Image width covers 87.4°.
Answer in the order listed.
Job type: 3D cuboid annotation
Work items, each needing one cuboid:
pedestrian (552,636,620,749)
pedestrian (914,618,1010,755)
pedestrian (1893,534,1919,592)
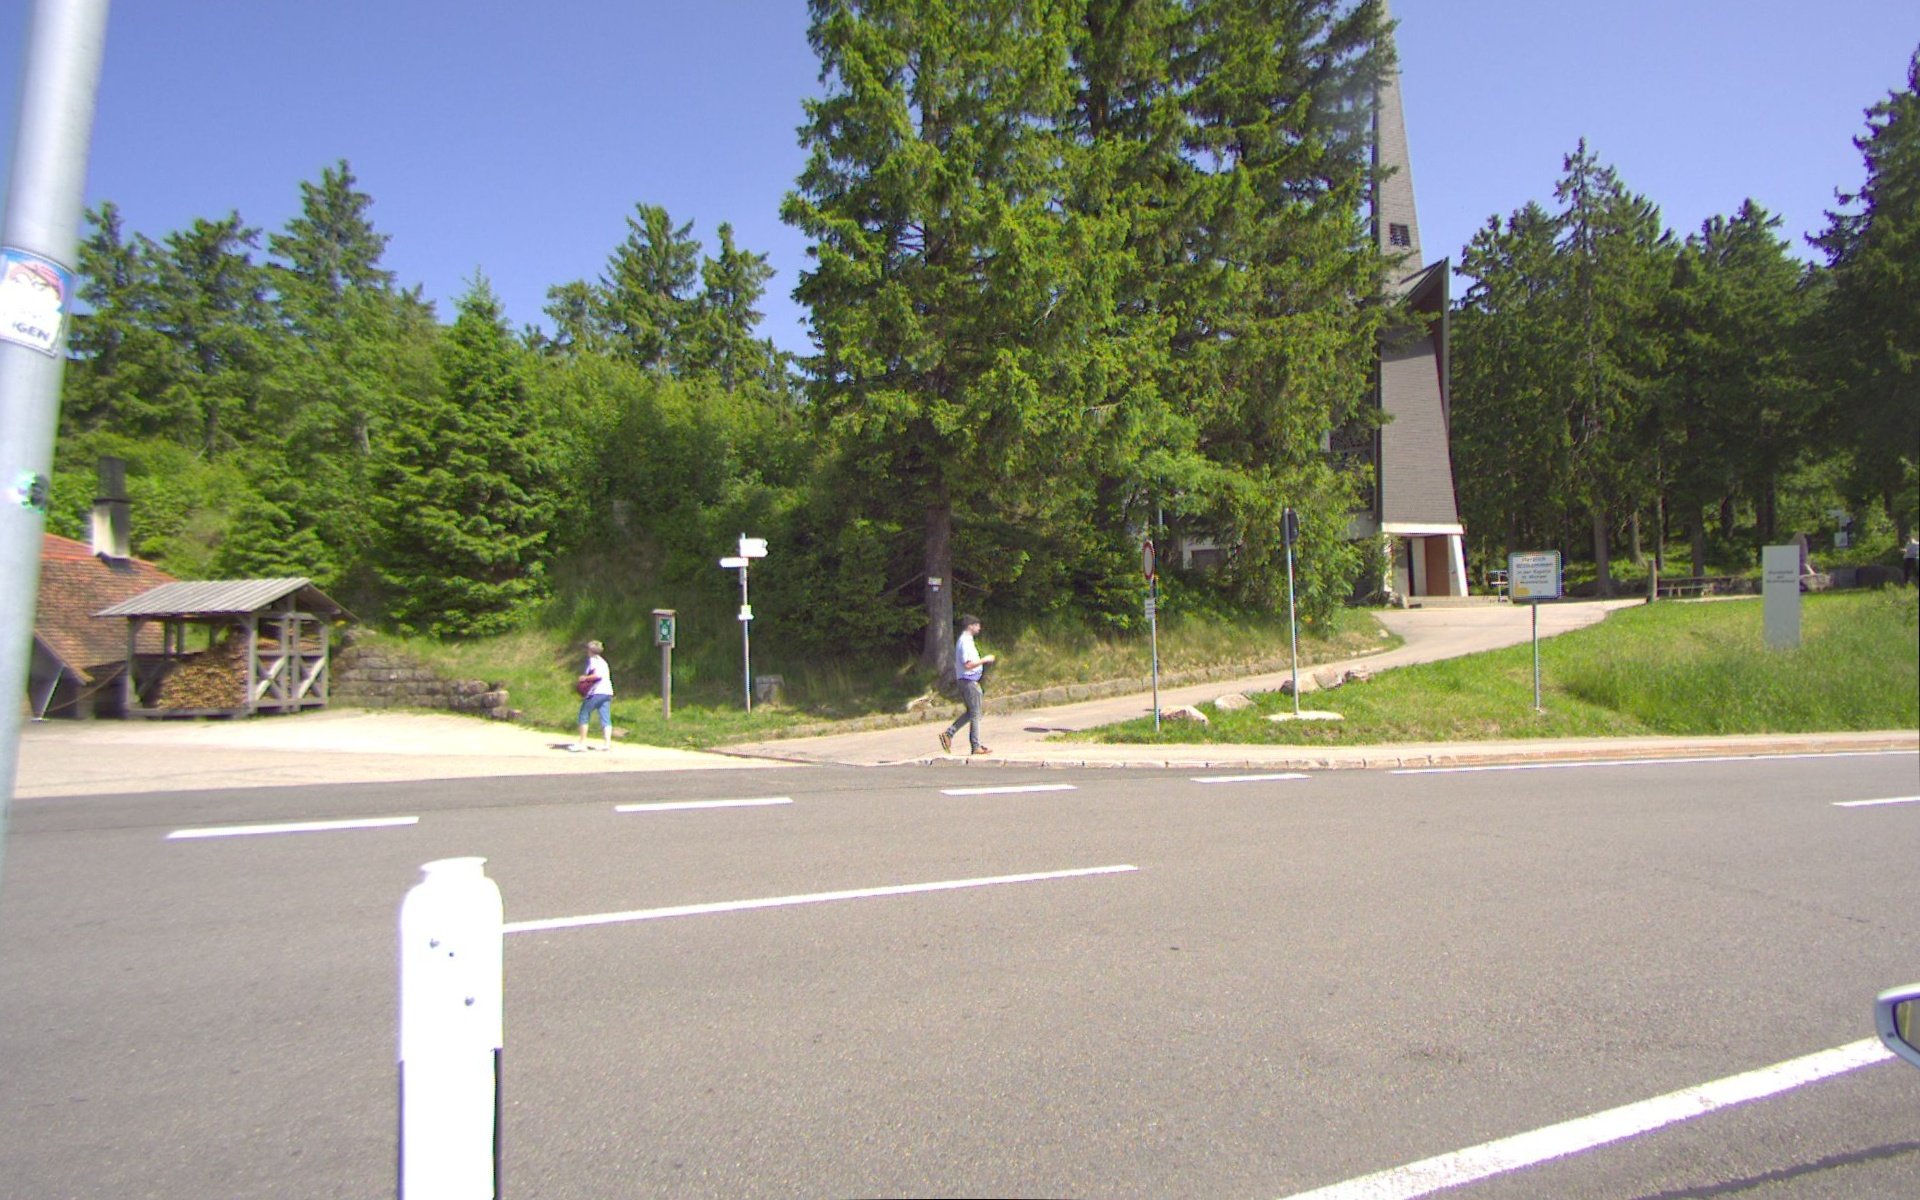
[{"bbox_3d":[-5.828,1.425,15.690,0.669,1.703,0.722,0,-3,15],"label":"pedestrian"},{"bbox_3d":[0.046,1.119,13.199,1.139,1.720,0.980,0,-3,8],"label":"pedestrian"},{"bbox_3d":[32.192,-1.243,34.094,0.672,1.902,0.539,-2,-3,40],"label":"pedestrian"}]
